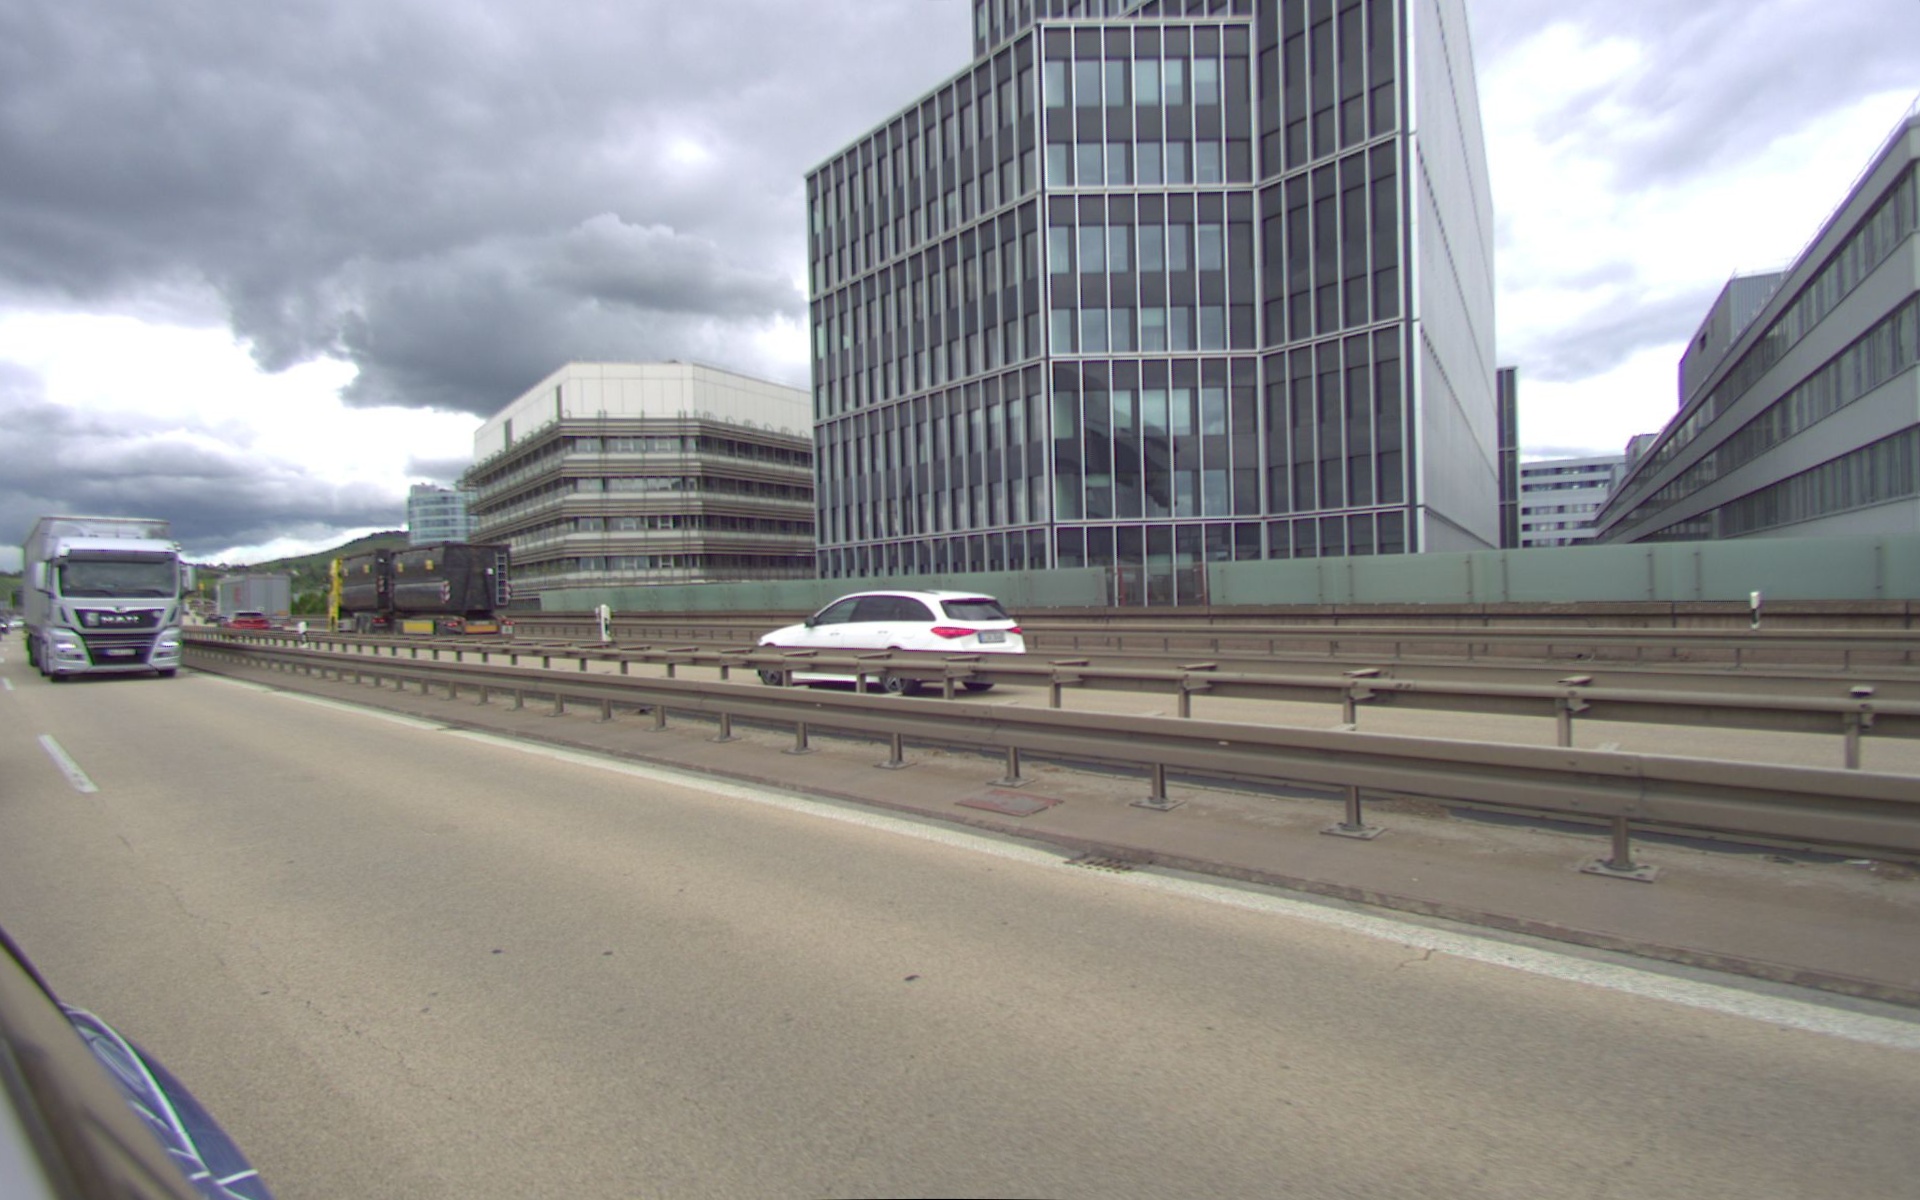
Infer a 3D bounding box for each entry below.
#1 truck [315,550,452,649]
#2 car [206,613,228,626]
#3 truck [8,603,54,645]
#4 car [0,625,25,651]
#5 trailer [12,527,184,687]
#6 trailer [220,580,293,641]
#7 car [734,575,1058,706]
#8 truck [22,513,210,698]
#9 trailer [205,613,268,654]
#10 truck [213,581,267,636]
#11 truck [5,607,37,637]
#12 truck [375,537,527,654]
[{"bbox_3d":[-27.263,0.026,47.437,3.020,4.096,11.869,0,-1,-43],"label":"truck"},{"bbox_3d":[-94.738,2.482,128.980,1.663,1.662,4.363,-2,1,-44],"label":"car"},{"bbox_3d":[-74.577,1.871,81.313,2.301,3.262,6.698,0,0,-39],"label":"truck"},{"bbox_3d":[-62.990,2.505,66.717,1.903,1.606,4.065,-2,1,-43],"label":"car"},{"bbox_3d":[-26.628,0.216,30.951,3.145,4.056,11.773,-2,1,-44],"label":"trailer"},{"bbox_3d":[-50.142,0.679,71.953,2.810,4.017,11.900,0,0,-42],"label":"trailer"},{"bbox_3d":[-1.085,0.524,14.872,4.806,1.618,1.972,-1,0,42],"label":"car"},{"bbox_3d":[-21.289,0.101,25.420,3.098,4.067,5.692,-2,1,-44],"label":"truck"},{"bbox_3d":[-37.101,1.688,51.864,4.001,2.029,1.971,-1,-1,44],"label":"trailer"},{"bbox_3d":[-55.087,0.662,77.416,2.738,4.110,5.652,0,-1,-42],"label":"truck"},{"bbox_3d":[-106.721,2.472,115.077,2.301,3.262,6.698,0,0,-39],"label":"truck"},{"bbox_3d":[-20.167,-0.116,39.778,3.021,4.096,8.672,0,-1,-43],"label":"truck"}]
